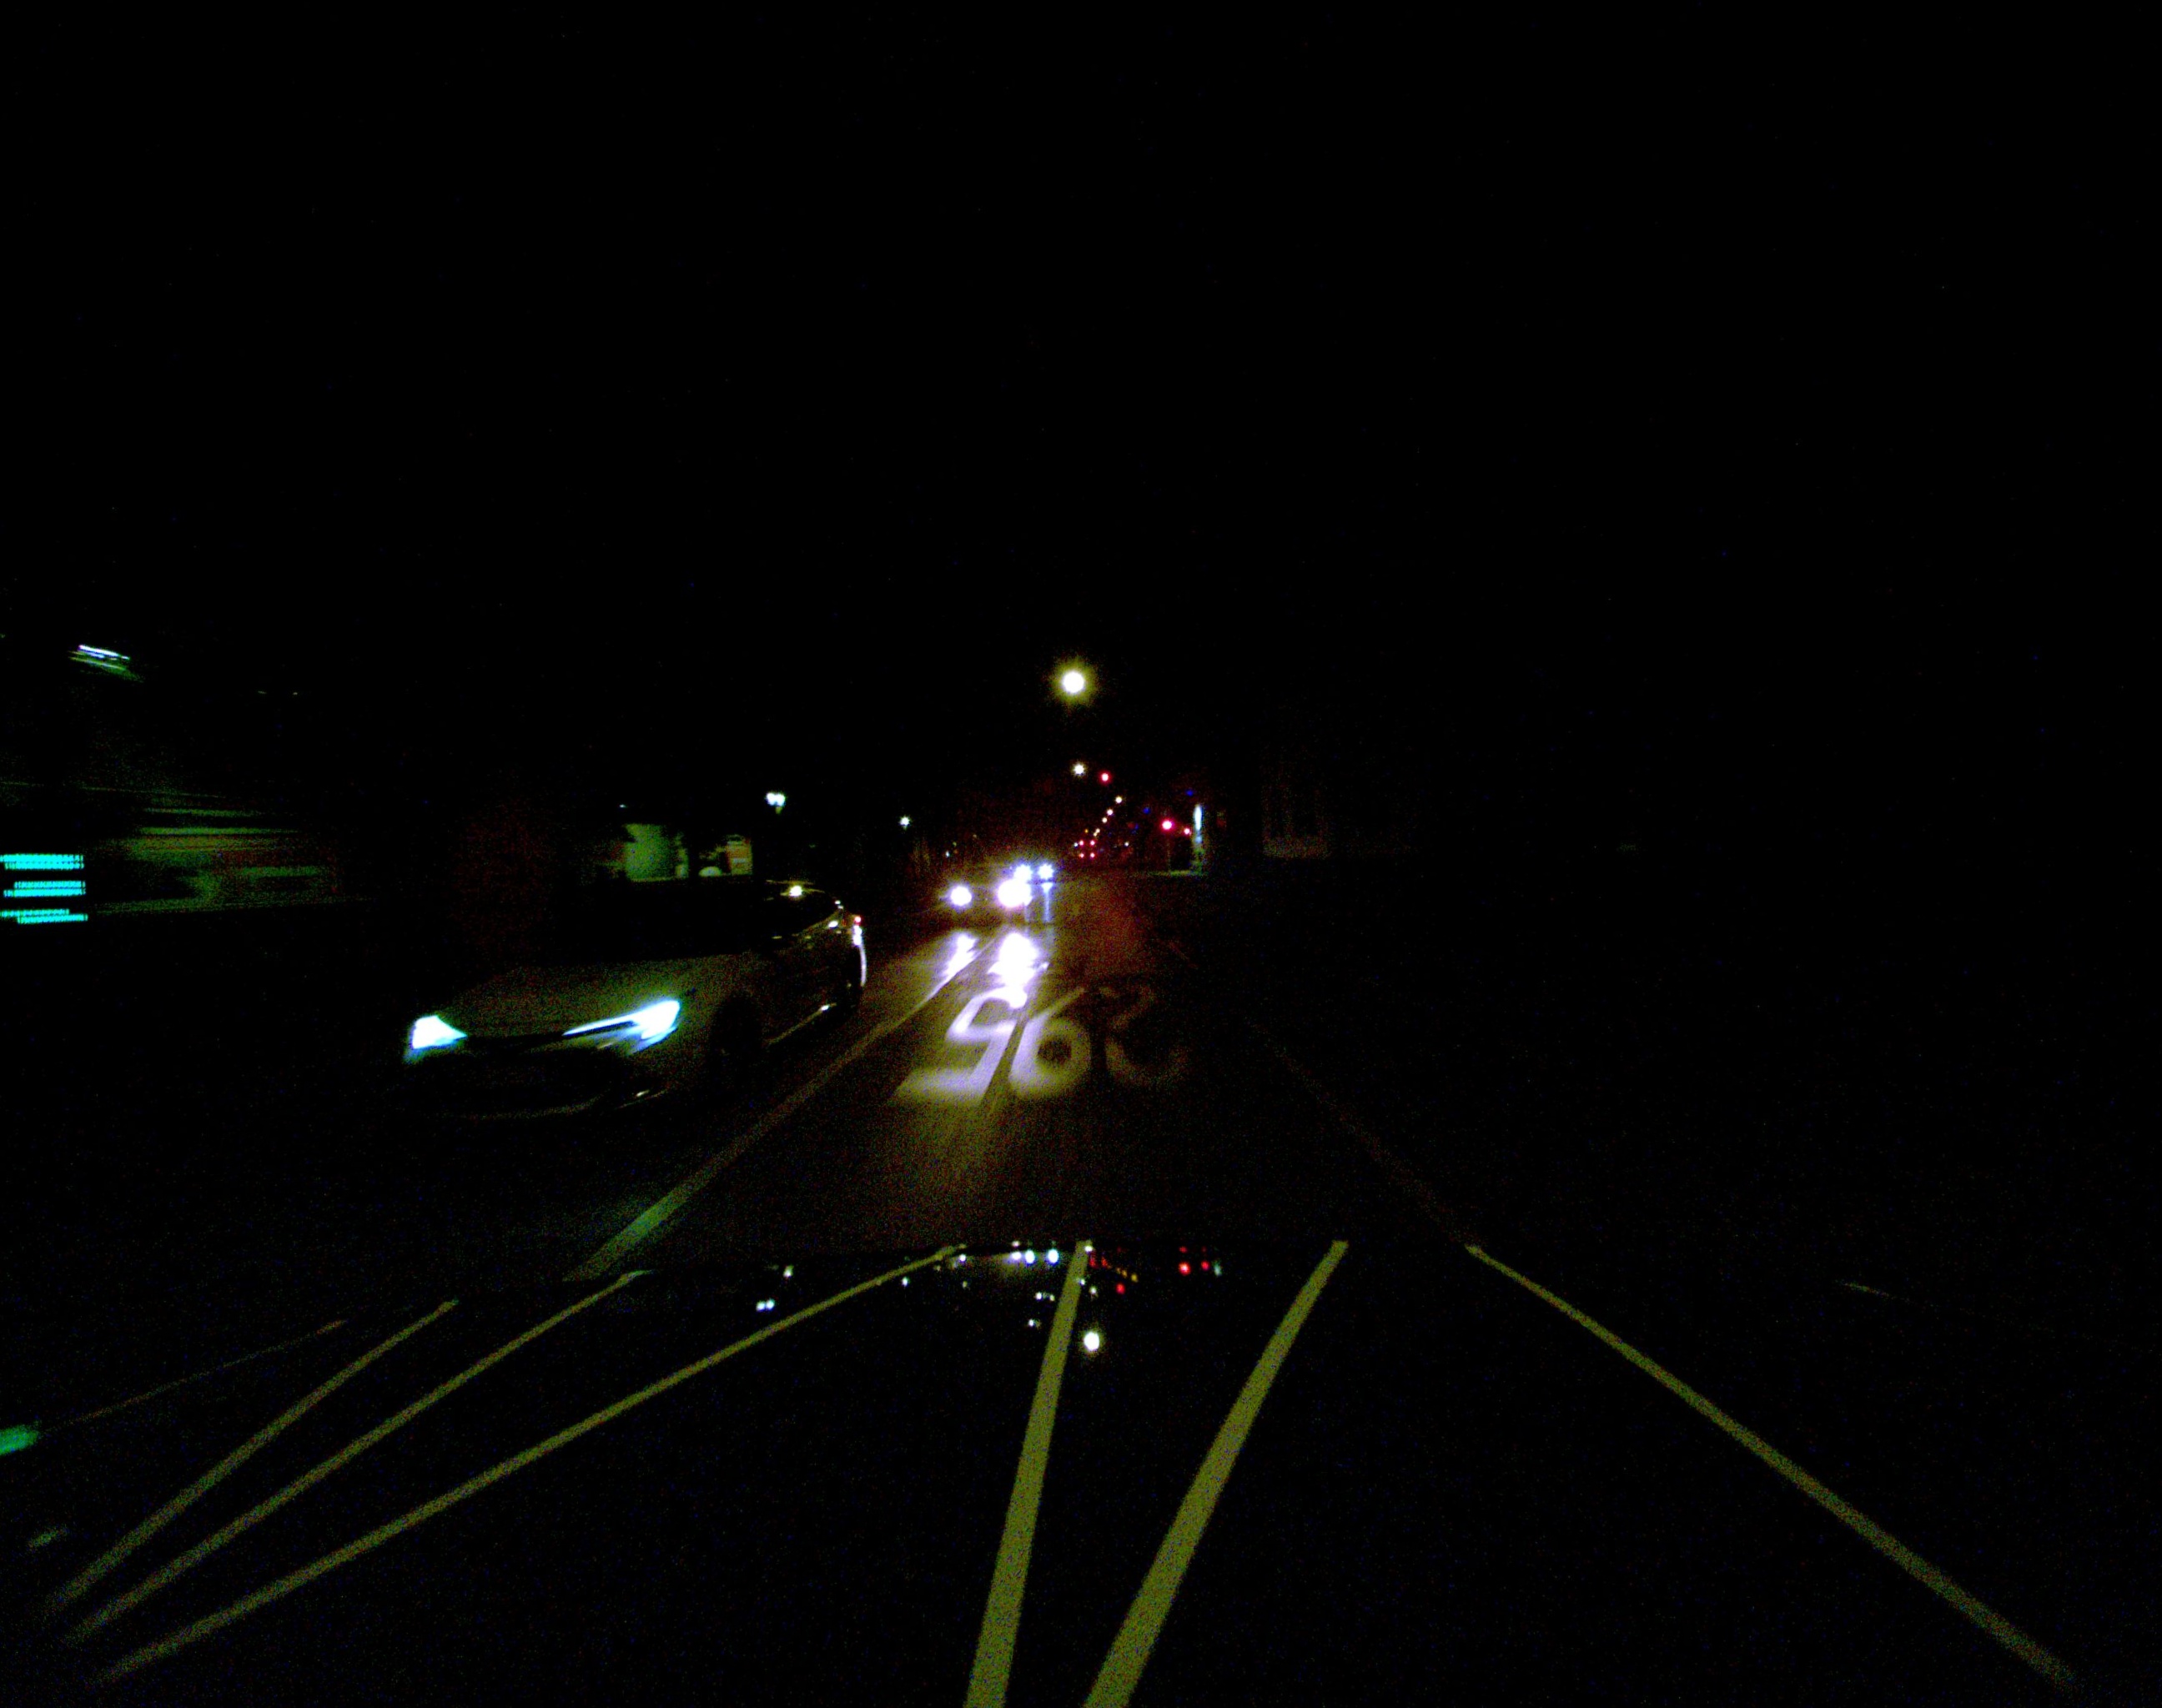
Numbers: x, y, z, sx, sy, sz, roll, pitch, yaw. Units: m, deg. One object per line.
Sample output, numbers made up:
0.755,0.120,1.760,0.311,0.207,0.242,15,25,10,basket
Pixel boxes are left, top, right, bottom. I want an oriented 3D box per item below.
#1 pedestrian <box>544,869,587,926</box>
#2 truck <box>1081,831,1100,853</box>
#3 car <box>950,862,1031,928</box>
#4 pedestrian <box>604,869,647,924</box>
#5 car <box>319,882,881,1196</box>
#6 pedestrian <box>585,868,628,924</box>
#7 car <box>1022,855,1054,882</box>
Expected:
-16.794,1.399,24.770,0.675,1.806,0.906,-2,1,1,pedestrian
2.038,-2.589,166.153,3.517,4.558,9.039,-4,1,0,truck
-2.323,1.013,20.349,1.634,1.430,3.839,-3,1,0,car
-14.866,1.377,24.810,0.737,1.707,0.985,-2,1,1,pedestrian
-3.216,1.096,6.392,1.729,1.421,4.498,-4,0,1,car
-15.724,1.370,25.193,0.721,1.778,0.970,-2,1,1,pedestrian
-2.700,0.881,48.131,1.729,1.455,3.999,-4,1,0,car
